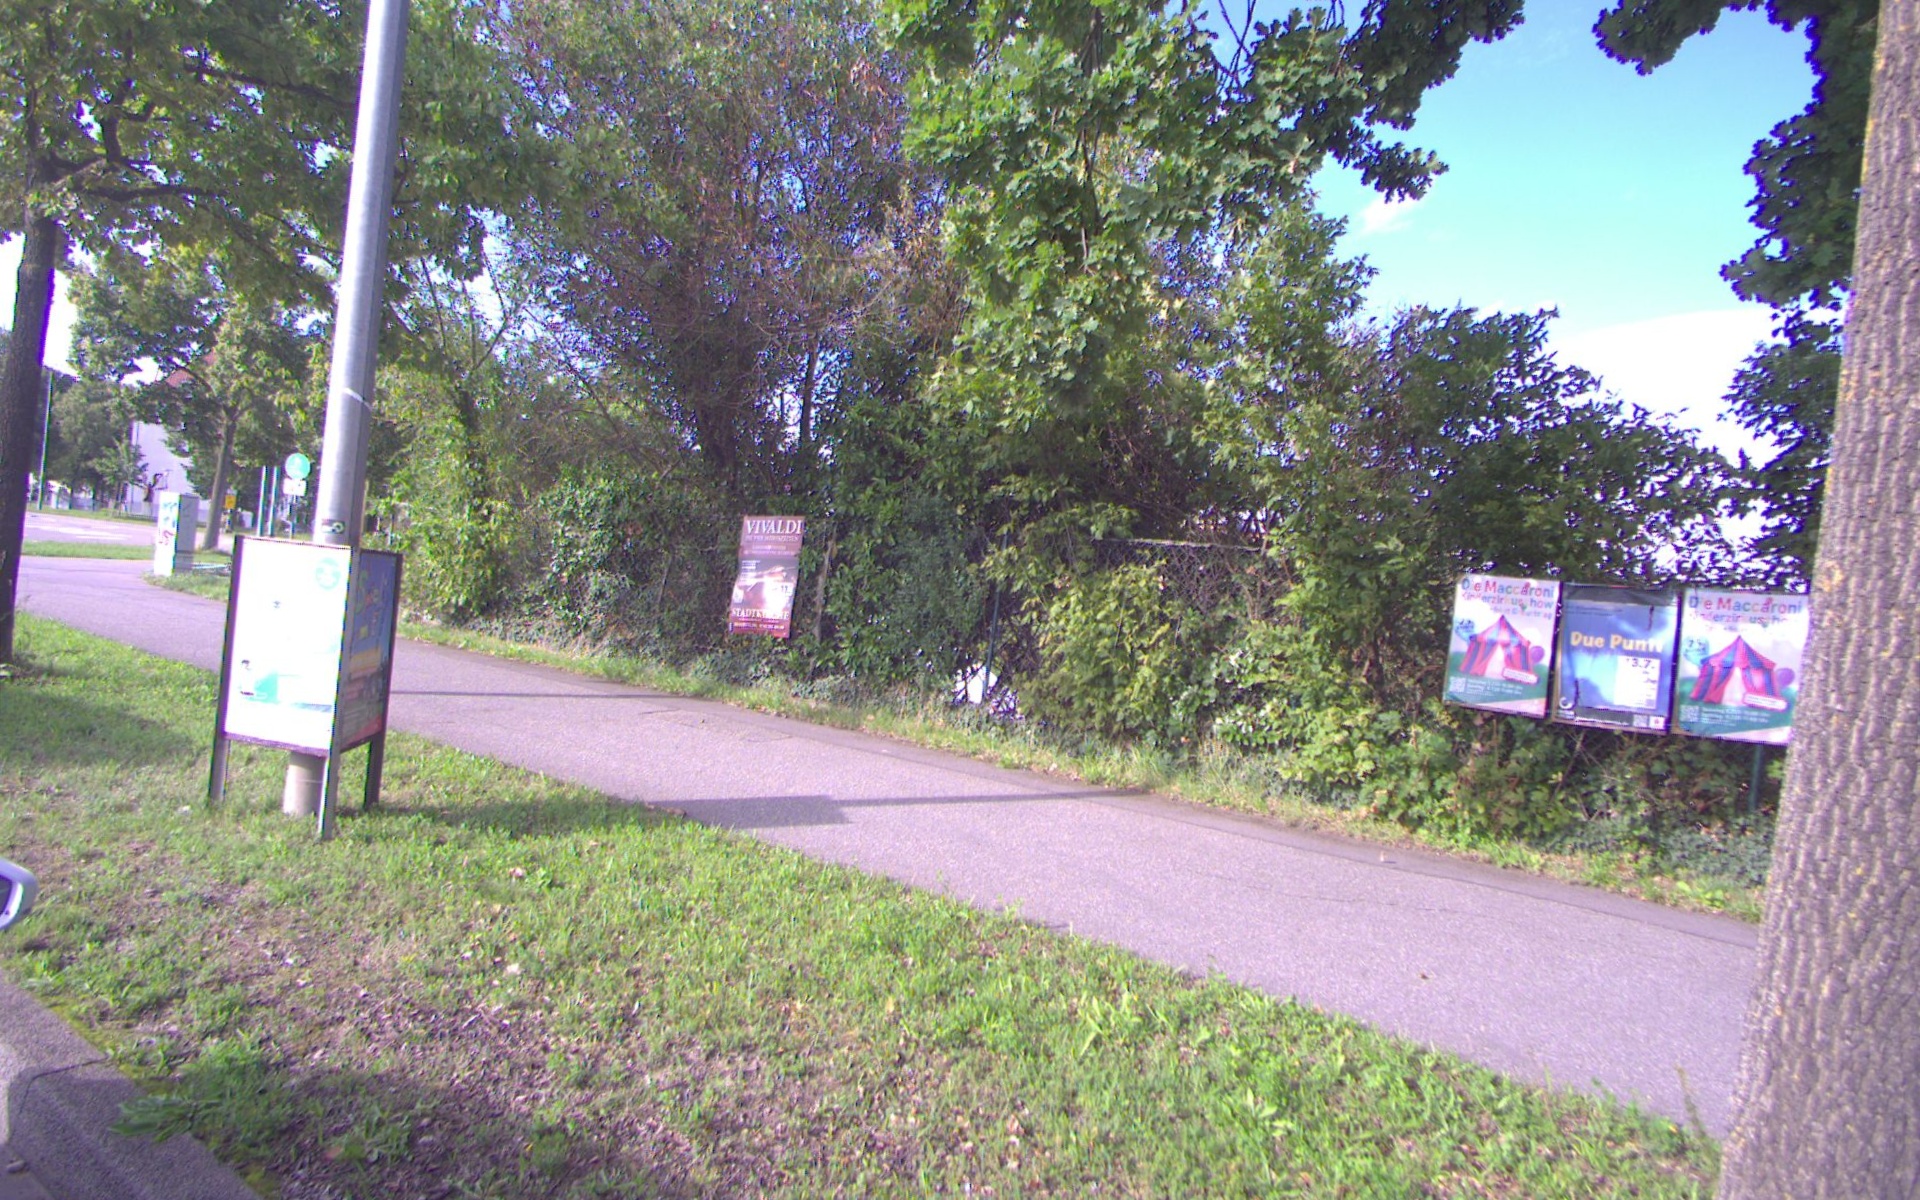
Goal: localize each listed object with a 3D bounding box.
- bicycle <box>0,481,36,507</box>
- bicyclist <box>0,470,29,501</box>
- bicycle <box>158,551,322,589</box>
[{"bbox_3d":[-70.165,-7.871,74.615,2.247,1.548,0.896,7,-1,2],"label":"bicycle"},{"bbox_3d":[-70.132,-8.471,74.624,1.201,2.037,0.822,6,-1,1],"label":"bicyclist"},{"bbox_3d":[-13.956,-0.583,19.512,2.529,0.390,1.411,7,0,21],"label":"bicycle"}]
